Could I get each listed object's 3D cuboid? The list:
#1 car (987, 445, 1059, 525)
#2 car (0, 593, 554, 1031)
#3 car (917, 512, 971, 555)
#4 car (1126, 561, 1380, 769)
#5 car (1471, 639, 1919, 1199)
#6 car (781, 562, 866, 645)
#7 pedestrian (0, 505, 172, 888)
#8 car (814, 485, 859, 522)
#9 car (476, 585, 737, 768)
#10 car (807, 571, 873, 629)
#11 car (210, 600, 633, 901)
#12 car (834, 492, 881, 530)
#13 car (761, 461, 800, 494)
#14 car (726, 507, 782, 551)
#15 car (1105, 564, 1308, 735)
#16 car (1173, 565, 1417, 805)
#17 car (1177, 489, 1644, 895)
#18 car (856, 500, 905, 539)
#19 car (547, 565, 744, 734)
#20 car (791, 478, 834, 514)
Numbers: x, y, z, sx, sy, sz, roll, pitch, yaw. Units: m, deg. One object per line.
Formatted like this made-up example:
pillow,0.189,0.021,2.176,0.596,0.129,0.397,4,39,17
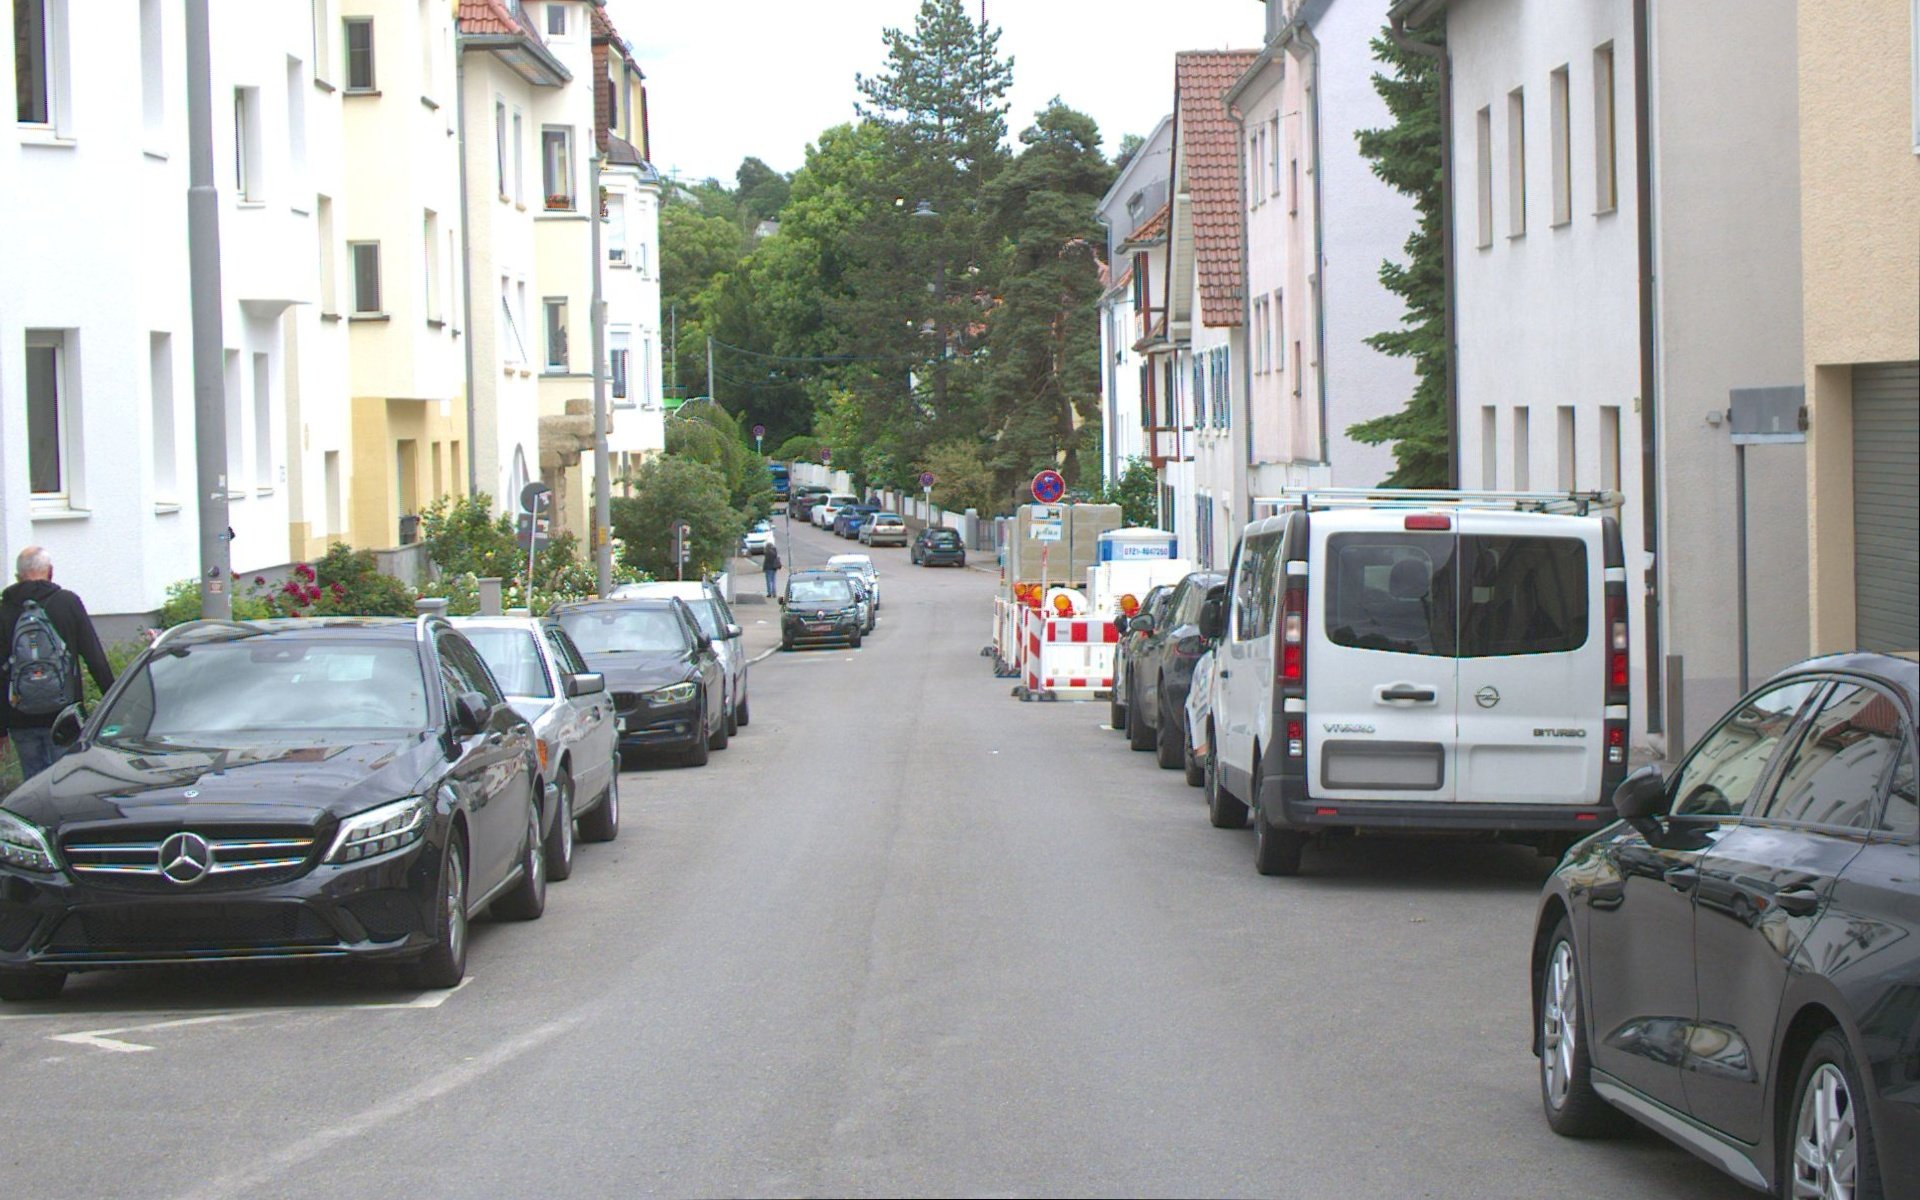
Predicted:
car,1.901,-3.510,104.884,1.980,2.354,4.278,-1,2,-1
car,-2.845,0.754,14.422,1.895,1.522,4.471,-1,0,-2
car,-0.647,-2.625,135.579,1.634,1.478,3.532,0,5,-8
car,2.420,0.488,29.362,1.713,1.591,4.499,1,1,-1
car,2.560,0.822,8.231,1.852,1.399,4.575,1,0,-2
car,-3.214,0.056,80.075,1.844,1.809,4.545,-2,1,-3
pedestrian,-4.603,0.471,17.374,0.817,1.878,0.846,-1,1,22
car,-5.685,-4.449,157.925,1.634,1.532,3.532,0,5,-9
car,-3.074,0.621,30.718,1.845,1.452,4.504,-2,0,0
car,-3.159,-0.015,90.868,1.642,1.412,3.984,-2,1,-1
car,-2.992,0.766,20.097,1.845,1.408,5.062,-1,1,-2
car,-4.539,-3.957,151.775,1.634,1.478,3.532,0,5,-9
car,-9.318,-6.359,178.242,1.634,1.532,3.532,0,5,-9
car,-8.671,-2.990,144.700,1.672,1.651,3.865,-3,4,-13
car,2.410,0.447,34.440,1.715,1.560,4.073,1,1,0
car,2.370,0.566,24.861,1.487,1.591,2.791,1,1,0
car,2.447,0.409,20.177,1.905,2.023,5.733,1,1,-1
car,-3.421,-3.462,147.446,1.634,1.478,3.532,0,5,-9
car,-3.291,0.478,36.632,1.845,1.625,4.287,-1,1,-2
car,-7.035,-4.944,163.671,1.634,1.532,3.532,0,5,-9
